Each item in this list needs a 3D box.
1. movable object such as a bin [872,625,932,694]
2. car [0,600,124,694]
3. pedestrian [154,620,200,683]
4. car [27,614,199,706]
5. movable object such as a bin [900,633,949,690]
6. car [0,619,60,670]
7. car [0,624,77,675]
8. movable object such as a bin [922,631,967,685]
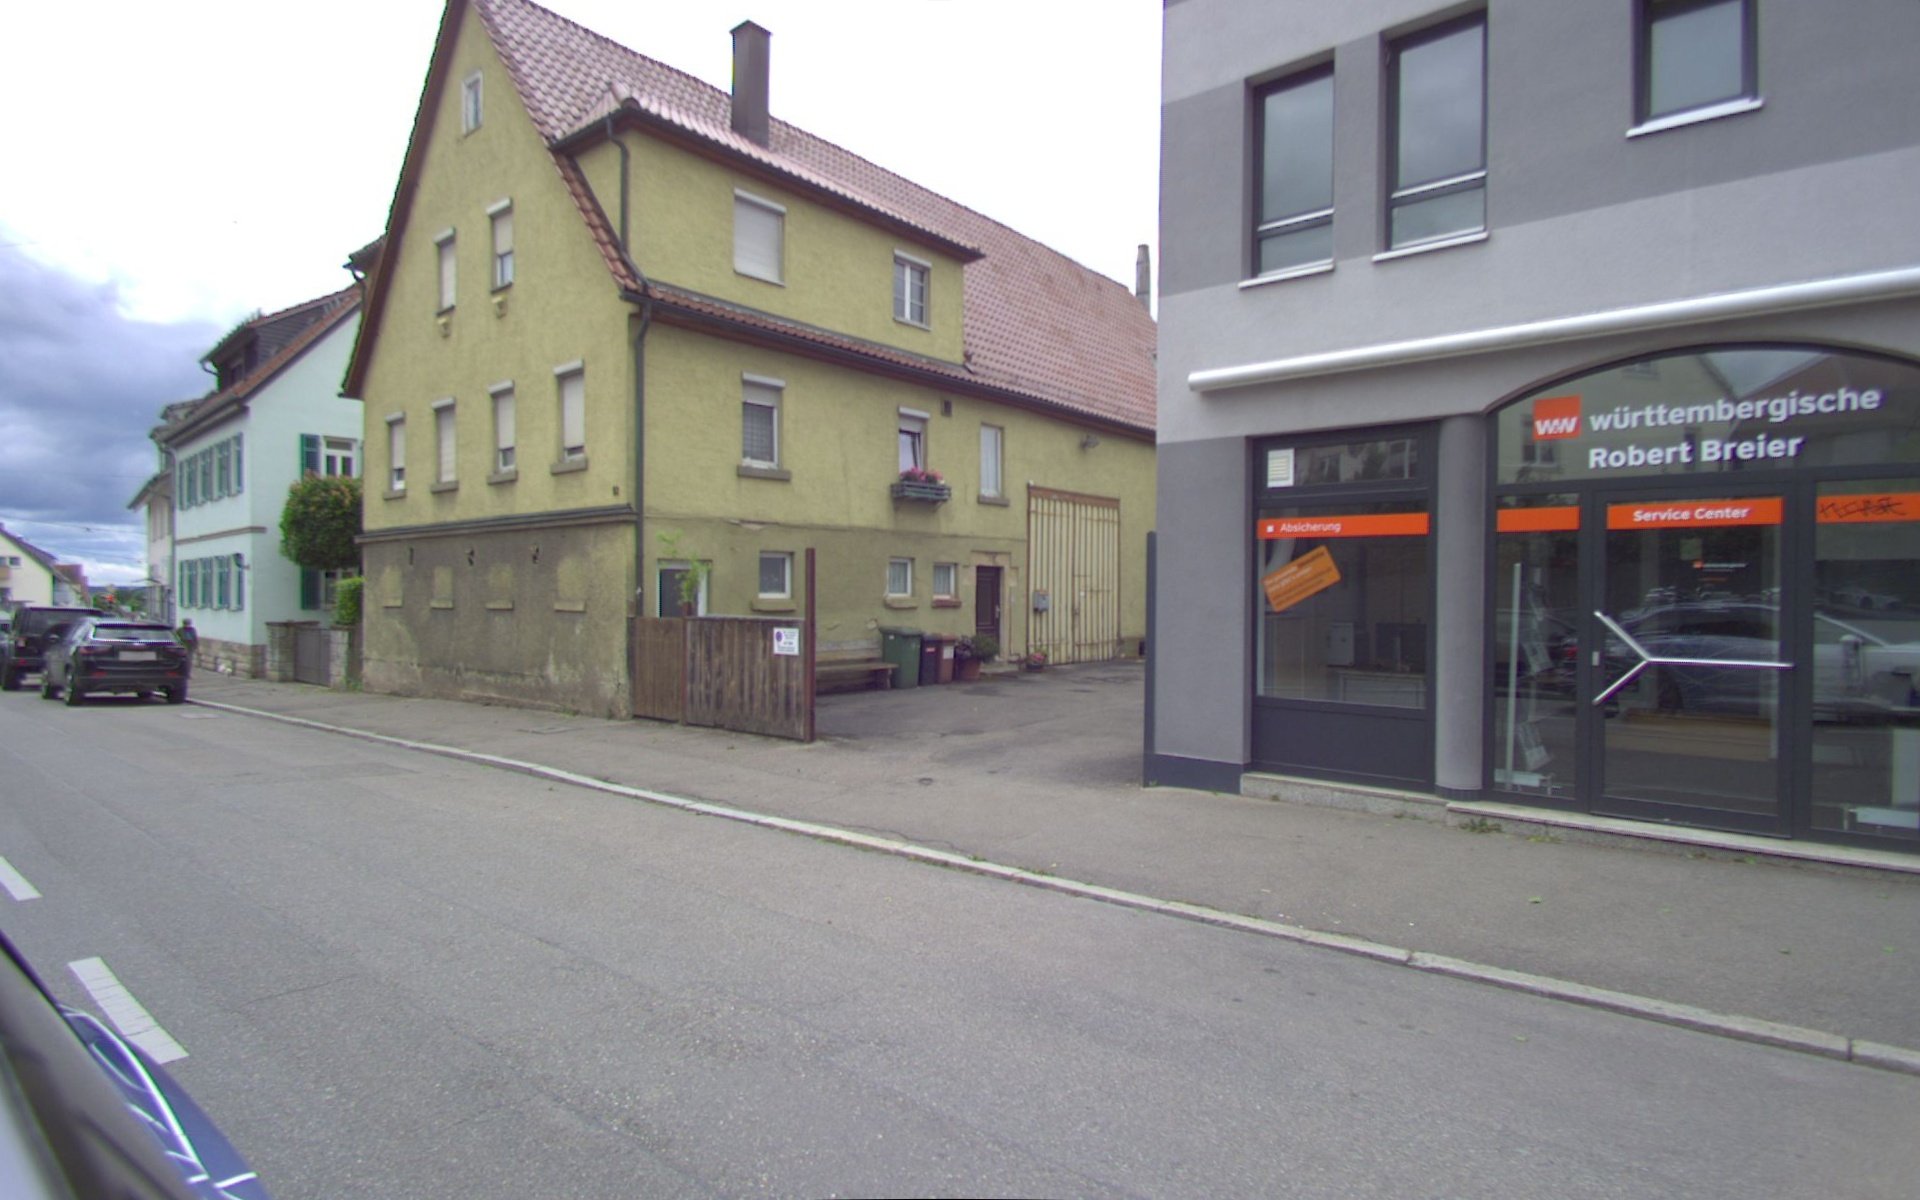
[{"bbox_3d":[-0.983,0.992,17.263,0.623,1.113,0.891,-1,-1,32],"label":"movable object such as a bin"},{"bbox_3d":[-21.668,1.088,24.233,4.671,2.029,1.971,-2,-3,44],"label":"car"},{"bbox_3d":[-19.849,1.291,25.642,0.796,1.511,0.976,-1,1,-44],"label":"pedestrian"},{"bbox_3d":[-16.886,1.182,20.108,4.522,1.631,1.877,-3,-4,41],"label":"car"},{"bbox_3d":[-0.633,1.079,17.993,0.623,0.956,0.656,0,-1,32],"label":"movable object such as a bin"},{"bbox_3d":[-32.793,1.524,35.362,1.973,1.645,4.864,0,-1,-41],"label":"car"},{"bbox_3d":[-28.835,1.497,31.444,1.974,1.447,3.922,0,-1,-43],"label":"car"},{"bbox_3d":[-0.284,1.054,18.527,0.623,0.956,0.562,0,-1,32],"label":"movable object such as a bin"}]
